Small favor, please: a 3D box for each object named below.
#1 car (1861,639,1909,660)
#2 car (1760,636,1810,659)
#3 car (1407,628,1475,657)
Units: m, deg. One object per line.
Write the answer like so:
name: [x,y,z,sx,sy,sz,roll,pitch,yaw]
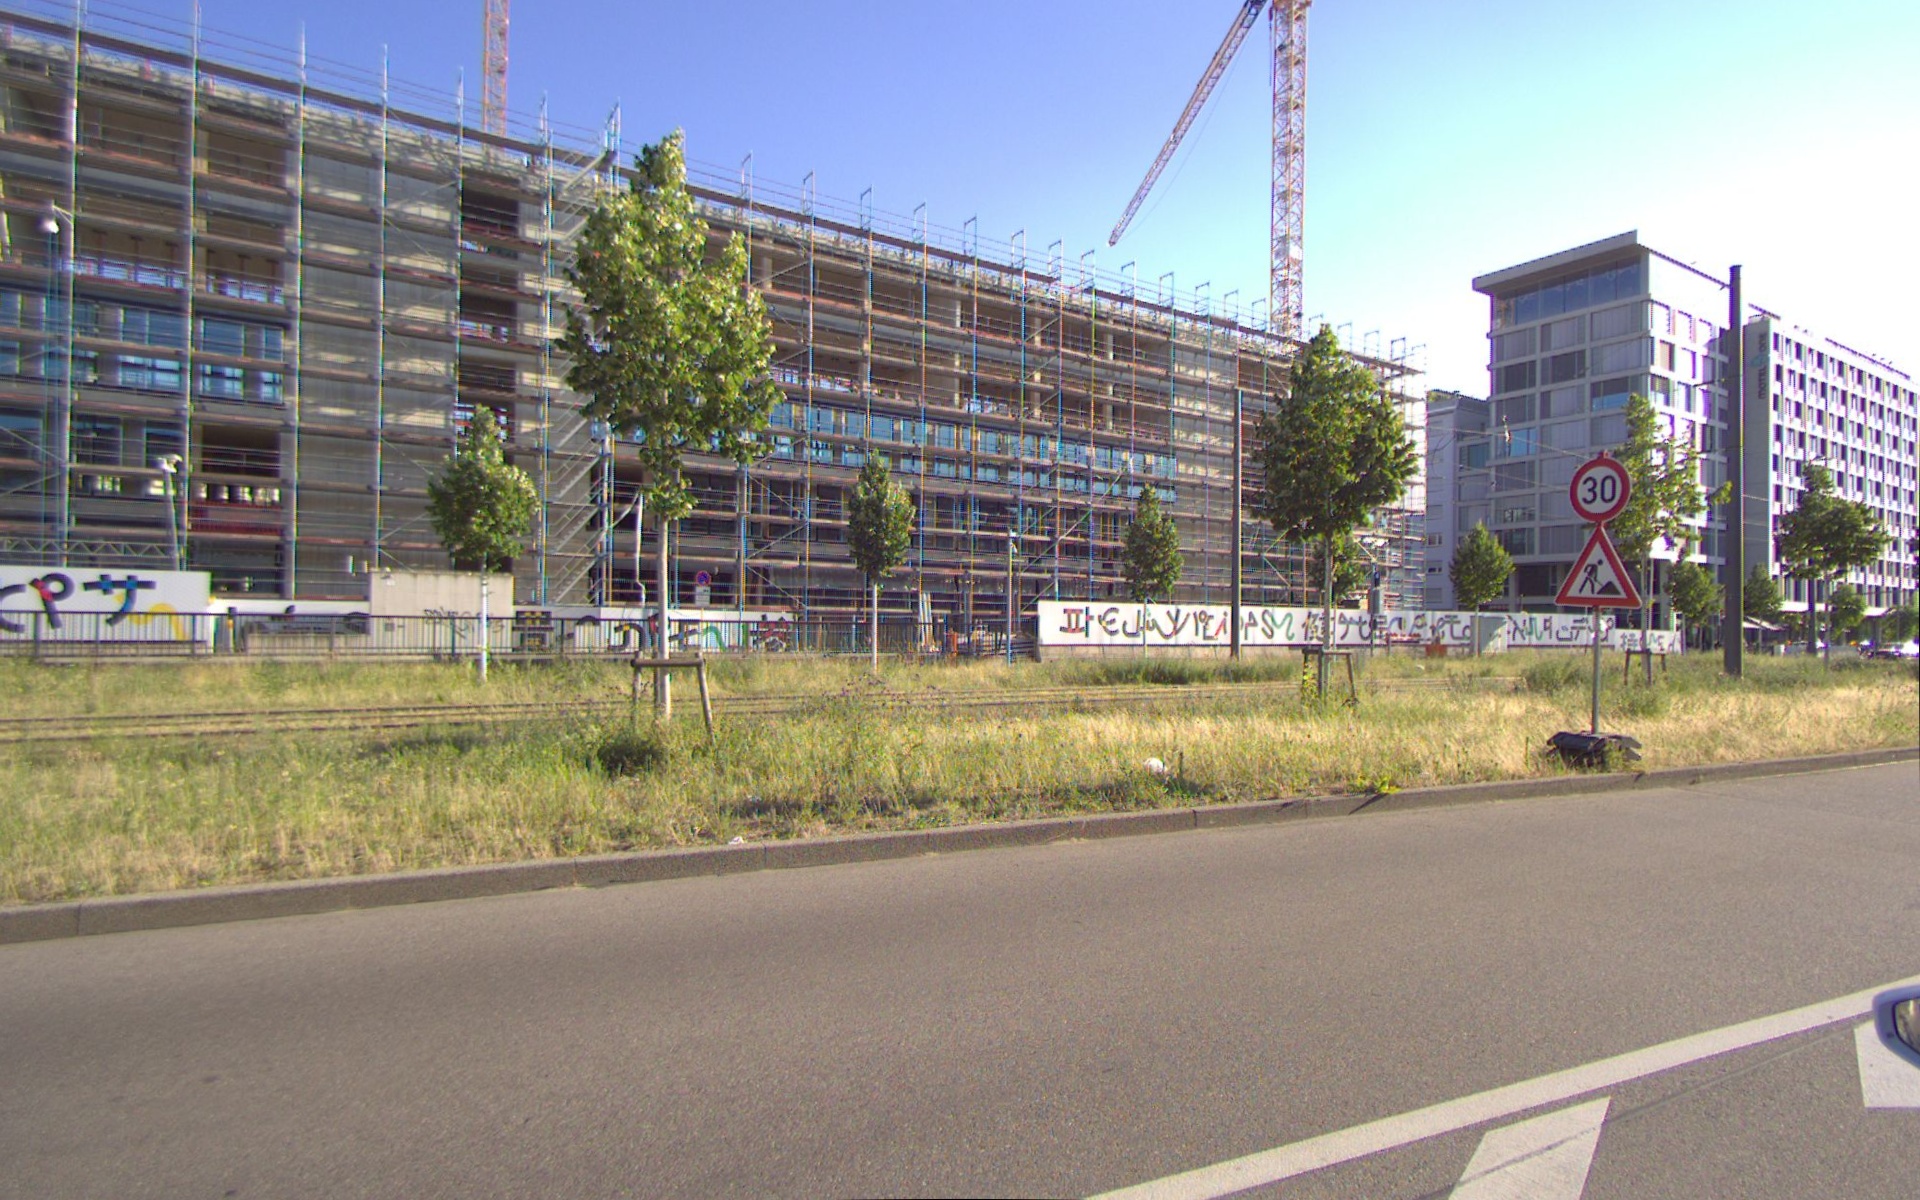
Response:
car: [67.125,3.599,72.906,3.543,1.461,1.699,2,0,-32]
car: [57.474,3.296,69.964,3.543,1.461,1.699,2,0,-32]
car: [26.086,2.278,54.432,3.543,1.461,1.699,2,0,-32]
